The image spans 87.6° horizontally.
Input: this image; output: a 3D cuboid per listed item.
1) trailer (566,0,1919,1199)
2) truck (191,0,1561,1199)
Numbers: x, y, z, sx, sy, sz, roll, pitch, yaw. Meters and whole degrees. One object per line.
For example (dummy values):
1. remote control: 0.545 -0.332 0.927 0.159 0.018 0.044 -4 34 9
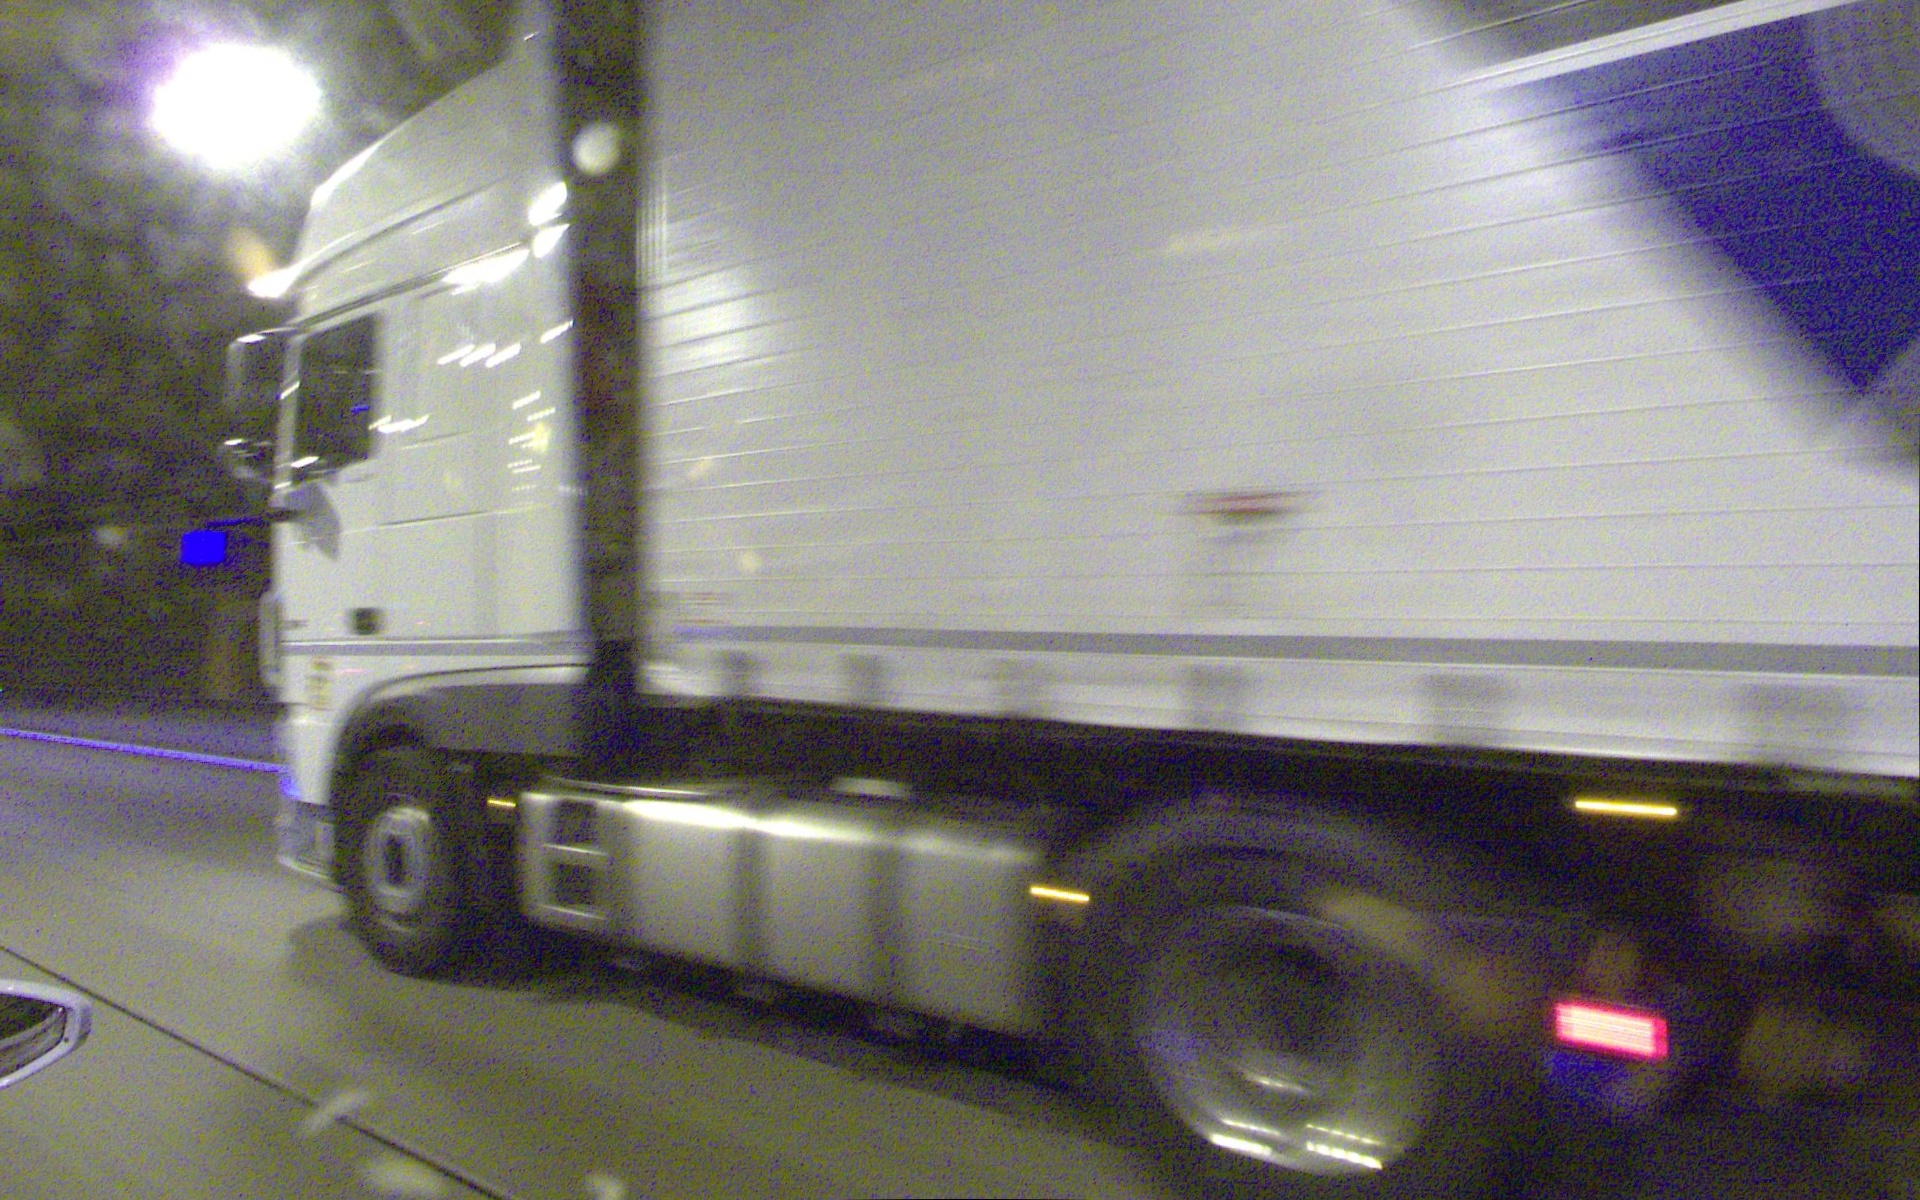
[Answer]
1. trailer: 5.168 -0.657 0.804 13.802 4.216 2.616 -1 -2 33
2. truck: -0.737 -0.553 4.602 5.921 4.217 2.641 -1 -1 33
